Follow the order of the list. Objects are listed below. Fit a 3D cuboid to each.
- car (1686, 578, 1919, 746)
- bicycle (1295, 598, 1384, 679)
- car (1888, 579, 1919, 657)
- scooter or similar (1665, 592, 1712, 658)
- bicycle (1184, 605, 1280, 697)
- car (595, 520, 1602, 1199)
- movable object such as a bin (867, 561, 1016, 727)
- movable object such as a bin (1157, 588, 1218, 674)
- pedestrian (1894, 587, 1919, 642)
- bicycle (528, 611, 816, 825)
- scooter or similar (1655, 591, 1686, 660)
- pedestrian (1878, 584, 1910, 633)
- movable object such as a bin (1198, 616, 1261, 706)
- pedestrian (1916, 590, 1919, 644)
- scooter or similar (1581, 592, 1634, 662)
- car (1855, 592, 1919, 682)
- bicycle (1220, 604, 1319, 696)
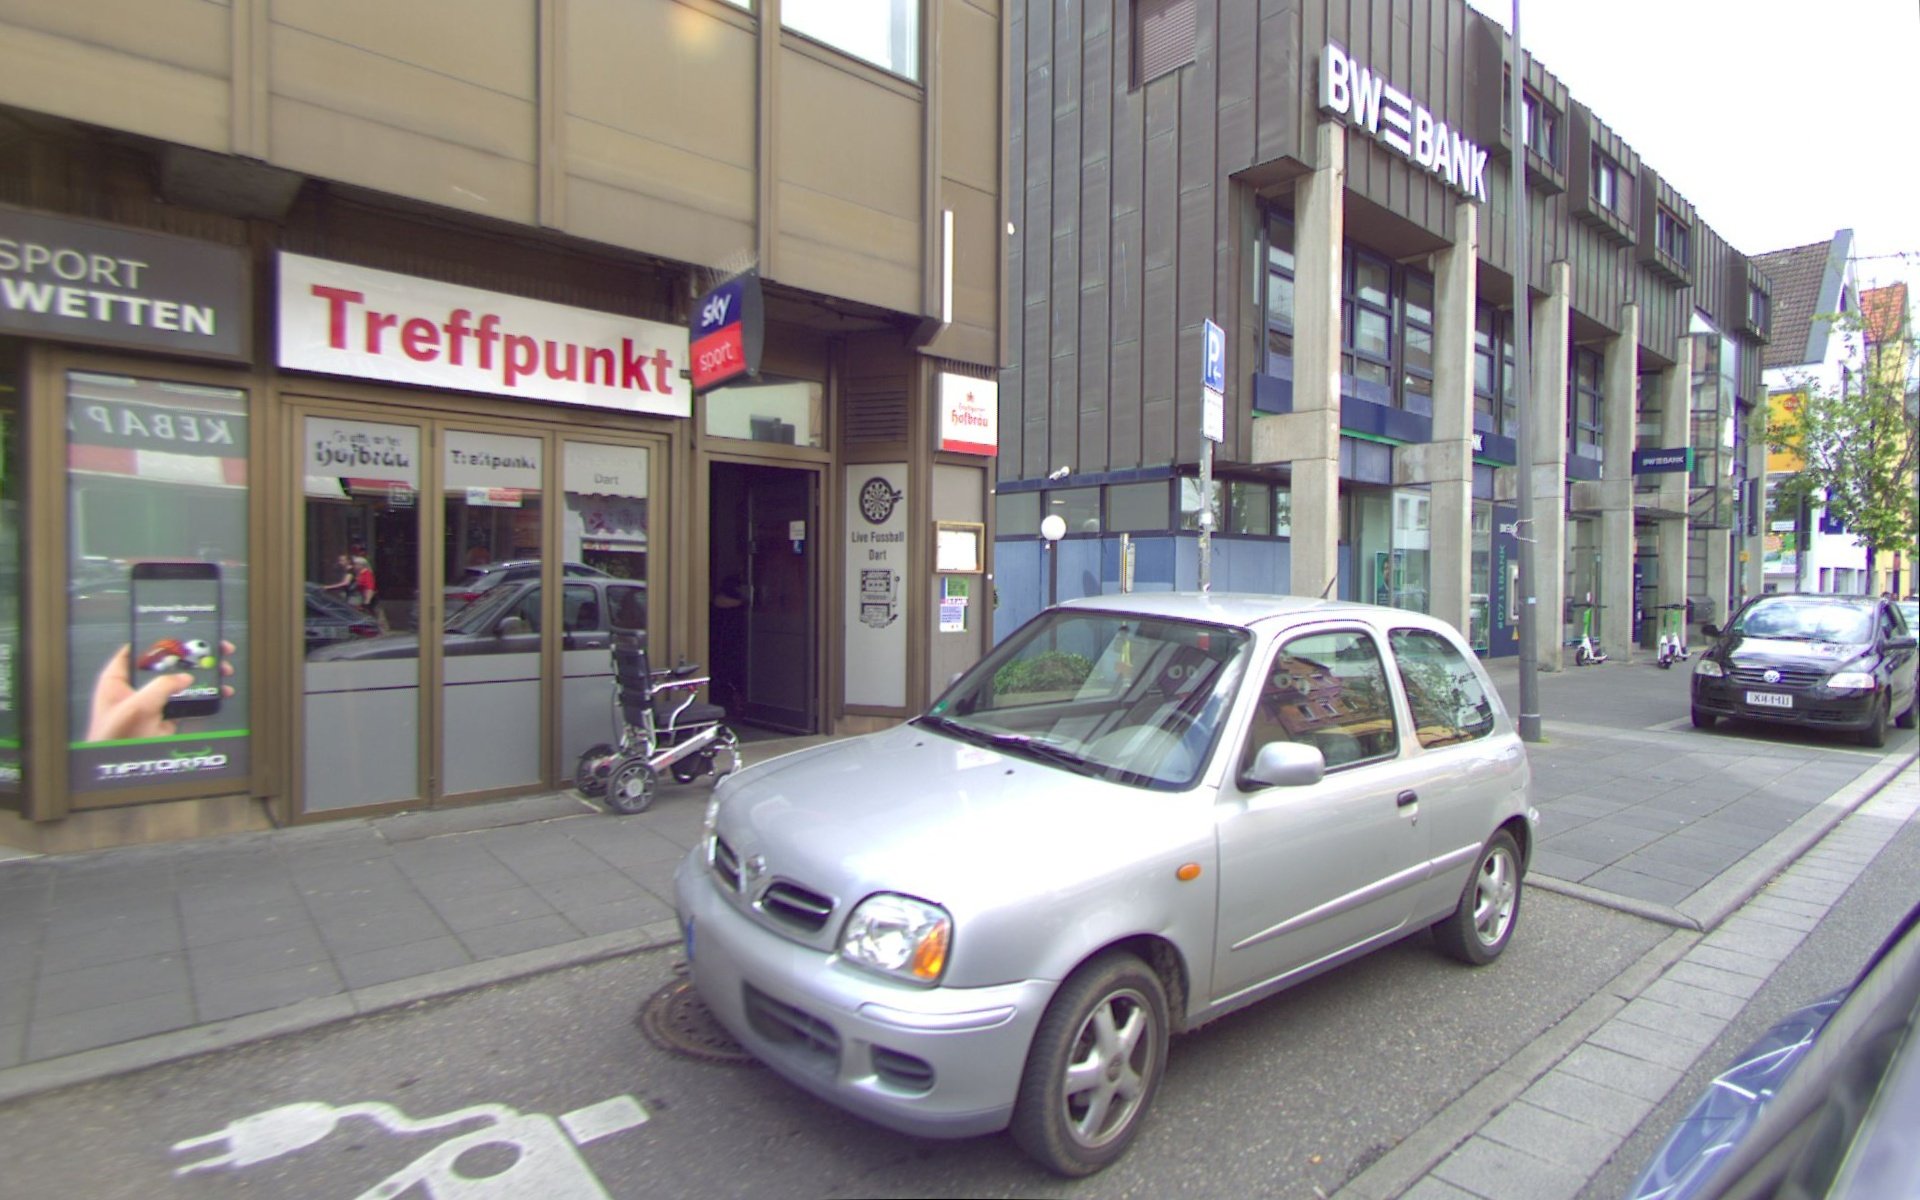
[{"bbox_3d":[9.738,0.578,11.392,3.727,1.551,1.613,0,2,-40],"label":"car"},{"bbox_3d":[5.672,0.544,15.081,1.709,1.133,0.426,-1,0,-39],"label":"bicycle"},{"bbox_3d":[22.227,0.455,22.420,4.349,1.595,1.727,0,6,-40],"label":"car"},{"bbox_3d":[14.641,0.484,20.318,1.534,1.261,0.422,-1,0,-41],"label":"scooter or similar"},{"bbox_3d":[3.588,0.640,13.307,1.475,1.133,0.426,-1,0,-39],"label":"bicycle"},{"bbox_3d":[0.787,0.564,3.818,3.727,1.512,1.614,0,4,-40],"label":"car"},{"bbox_3d":[-0.200,0.408,10.200,1.013,1.547,1.145,-1,0,-38],"label":"movable object such as a bin"},{"bbox_3d":[2.789,0.367,12.400,0.544,1.012,0.488,-1,0,-38],"label":"movable object such as a bin"},{"bbox_3d":[32.673,0.498,34.924,0.566,1.864,0.589,0,0,-40],"label":"pedestrian"},{"bbox_3d":[-1.658,0.611,5.924,1.450,1.061,0.721,-1,0,-41],"label":"bicycle"},{"bbox_3d":[13.492,0.461,19.208,0.404,1.261,1.306,-1,0,39],"label":"scooter or similar"},{"bbox_3d":[34.308,0.308,37.172,0.743,1.759,0.742,-1,0,-40],"label":"pedestrian"},{"bbox_3d":[3.170,0.705,11.917,0.544,1.012,0.488,-1,0,-38],"label":"movable object such as a bin"},{"bbox_3d":[33.481,0.570,34.958,0.566,1.864,0.589,0,0,-40],"label":"pedestrian"},{"bbox_3d":[12.212,0.487,19.064,1.534,1.261,0.422,-1,0,-41],"label":"scooter or similar"},{"bbox_3d":[18.059,0.630,18.668,4.036,1.512,1.724,-1,0,-40],"label":"car"},{"bbox_3d":[3.968,0.613,12.919,1.474,1.095,0.426,1,1,-39],"label":"bicycle"}]
